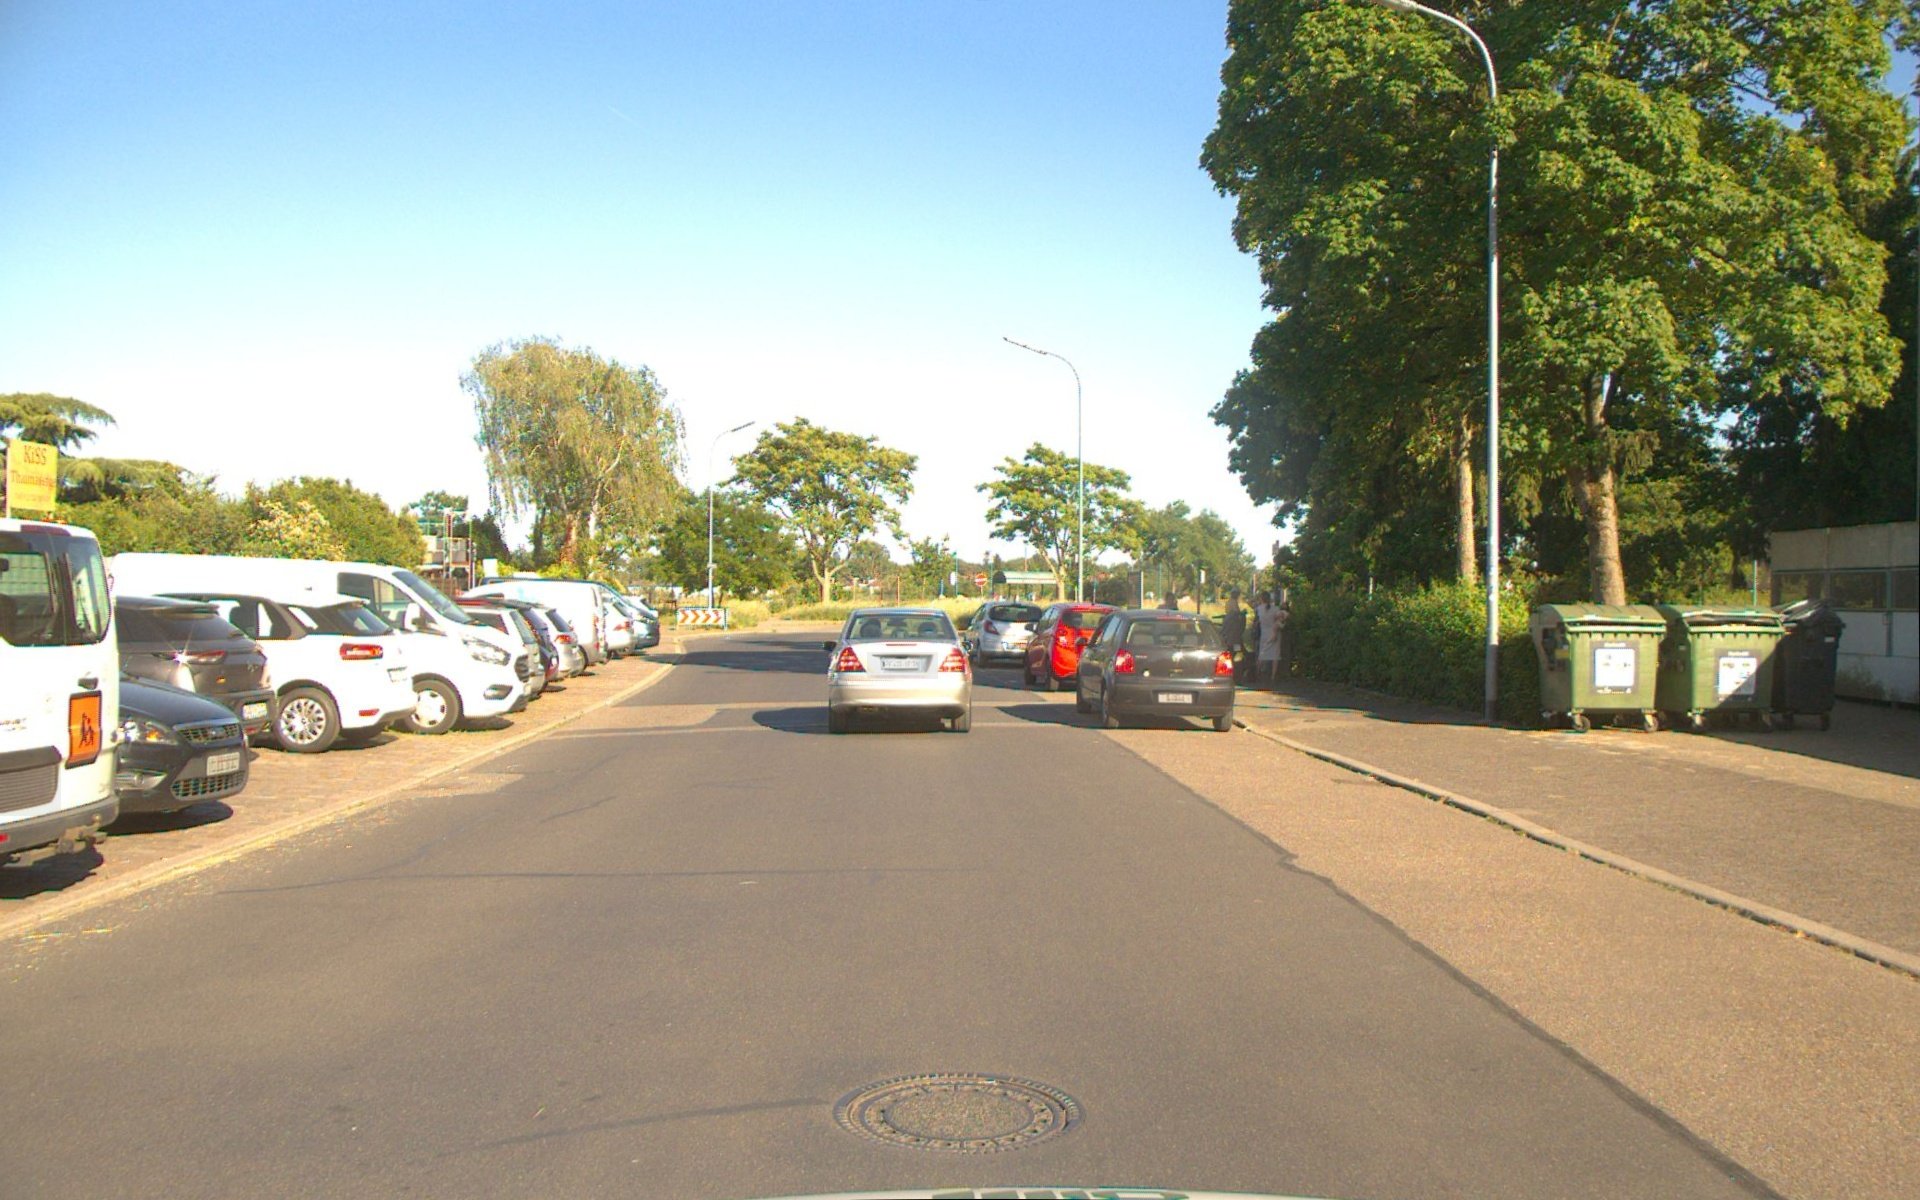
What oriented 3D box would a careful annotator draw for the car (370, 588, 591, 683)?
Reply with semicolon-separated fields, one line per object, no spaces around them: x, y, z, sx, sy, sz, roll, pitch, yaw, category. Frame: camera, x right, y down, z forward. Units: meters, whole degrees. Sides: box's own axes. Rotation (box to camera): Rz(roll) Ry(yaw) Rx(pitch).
-8.596;0.633;29.873;3.443;1.515;1.727;2;-1;-3;car

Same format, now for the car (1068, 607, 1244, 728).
2.471;0.823;21.687;1.614;1.427;3.879;0;-1;-4;car

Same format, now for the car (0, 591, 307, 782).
-8.064;0.698;14.710;3.692;1.513;1.883;2;-1;-1;car

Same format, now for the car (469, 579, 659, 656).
-10.549;0.475;44.372;4.782;1.949;1.995;1;-1;-10;car

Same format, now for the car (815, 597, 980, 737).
-0.739;0.738;20.393;1.779;1.489;4.359;1;0;-2;car

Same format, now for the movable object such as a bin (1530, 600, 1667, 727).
7.360;0.725;19.118;1.213;1.428;0.914;1;-1;-4;movable object such as a bin

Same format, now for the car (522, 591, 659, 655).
-10.469;0.648;47.084;3.542;1.635;1.731;2;-1;-5;car

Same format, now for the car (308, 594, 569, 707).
-7.789;0.740;24.956;3.447;1.515;1.634;2;1;-7;car

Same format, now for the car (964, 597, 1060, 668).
1.172;0.749;38.833;1.698;1.570;3.783;1;-1;-7;car

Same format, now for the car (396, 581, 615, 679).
-8.904;0.572;32.684;3.903;1.811;1.922;1;0;-8;car

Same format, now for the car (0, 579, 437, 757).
-7.767;0.683;17.350;3.906;1.610;1.883;2;-1;-1;car

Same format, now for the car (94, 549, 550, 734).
-7.601;0.500;20.152;4.695;1.954;2.080;2;-1;-5;car

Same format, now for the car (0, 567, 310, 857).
-6.802;0.643;11.094;4.067;1.736;1.883;2;-1;-1;car

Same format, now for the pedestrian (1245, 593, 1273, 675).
5.658;0.649;31.337;0.354;1.529;0.500;-1;-1;-8;pedestrian

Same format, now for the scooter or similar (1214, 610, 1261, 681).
4.945;0.806;29.529;0.610;1.249;0.904;-1;-1;-5;scooter or similar

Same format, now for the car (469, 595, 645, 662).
-10.148;0.712;41.942;4.058;1.518;1.923;2;-1;-7;car

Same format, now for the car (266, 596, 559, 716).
-7.476;0.759;22.831;3.443;1.471;1.636;2;-1;-3;car

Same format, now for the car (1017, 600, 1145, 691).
2.069;0.775;29.196;1.545;1.472;3.783;1;-1;-7;car

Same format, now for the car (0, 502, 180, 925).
-6.766;0.466;8.582;4.389;2.011;1.999;2;-1;-2;car

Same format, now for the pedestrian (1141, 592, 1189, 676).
3.960;0.654;31.943;0.772;1.592;0.569;2;-1;-5;pedestrian

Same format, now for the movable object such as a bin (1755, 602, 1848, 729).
9.770;0.754;19.217;0.709;1.440;0.688;1;-1;-3;movable object such as a bin

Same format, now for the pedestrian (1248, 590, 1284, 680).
5.509;0.623;29.775;0.476;1.592;0.468;-1;-1;-9;pedestrian

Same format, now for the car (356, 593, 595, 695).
-8.005;0.725;27.552;3.443;1.515;1.636;2;-1;-3;car

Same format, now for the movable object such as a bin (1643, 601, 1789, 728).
8.766;0.738;19.227;1.249;1.440;0.950;1;-1;-4;movable object such as a bin

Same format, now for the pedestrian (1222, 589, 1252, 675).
5.172;0.594;30.878;0.471;1.592;0.597;-1;-1;5;pedestrian
